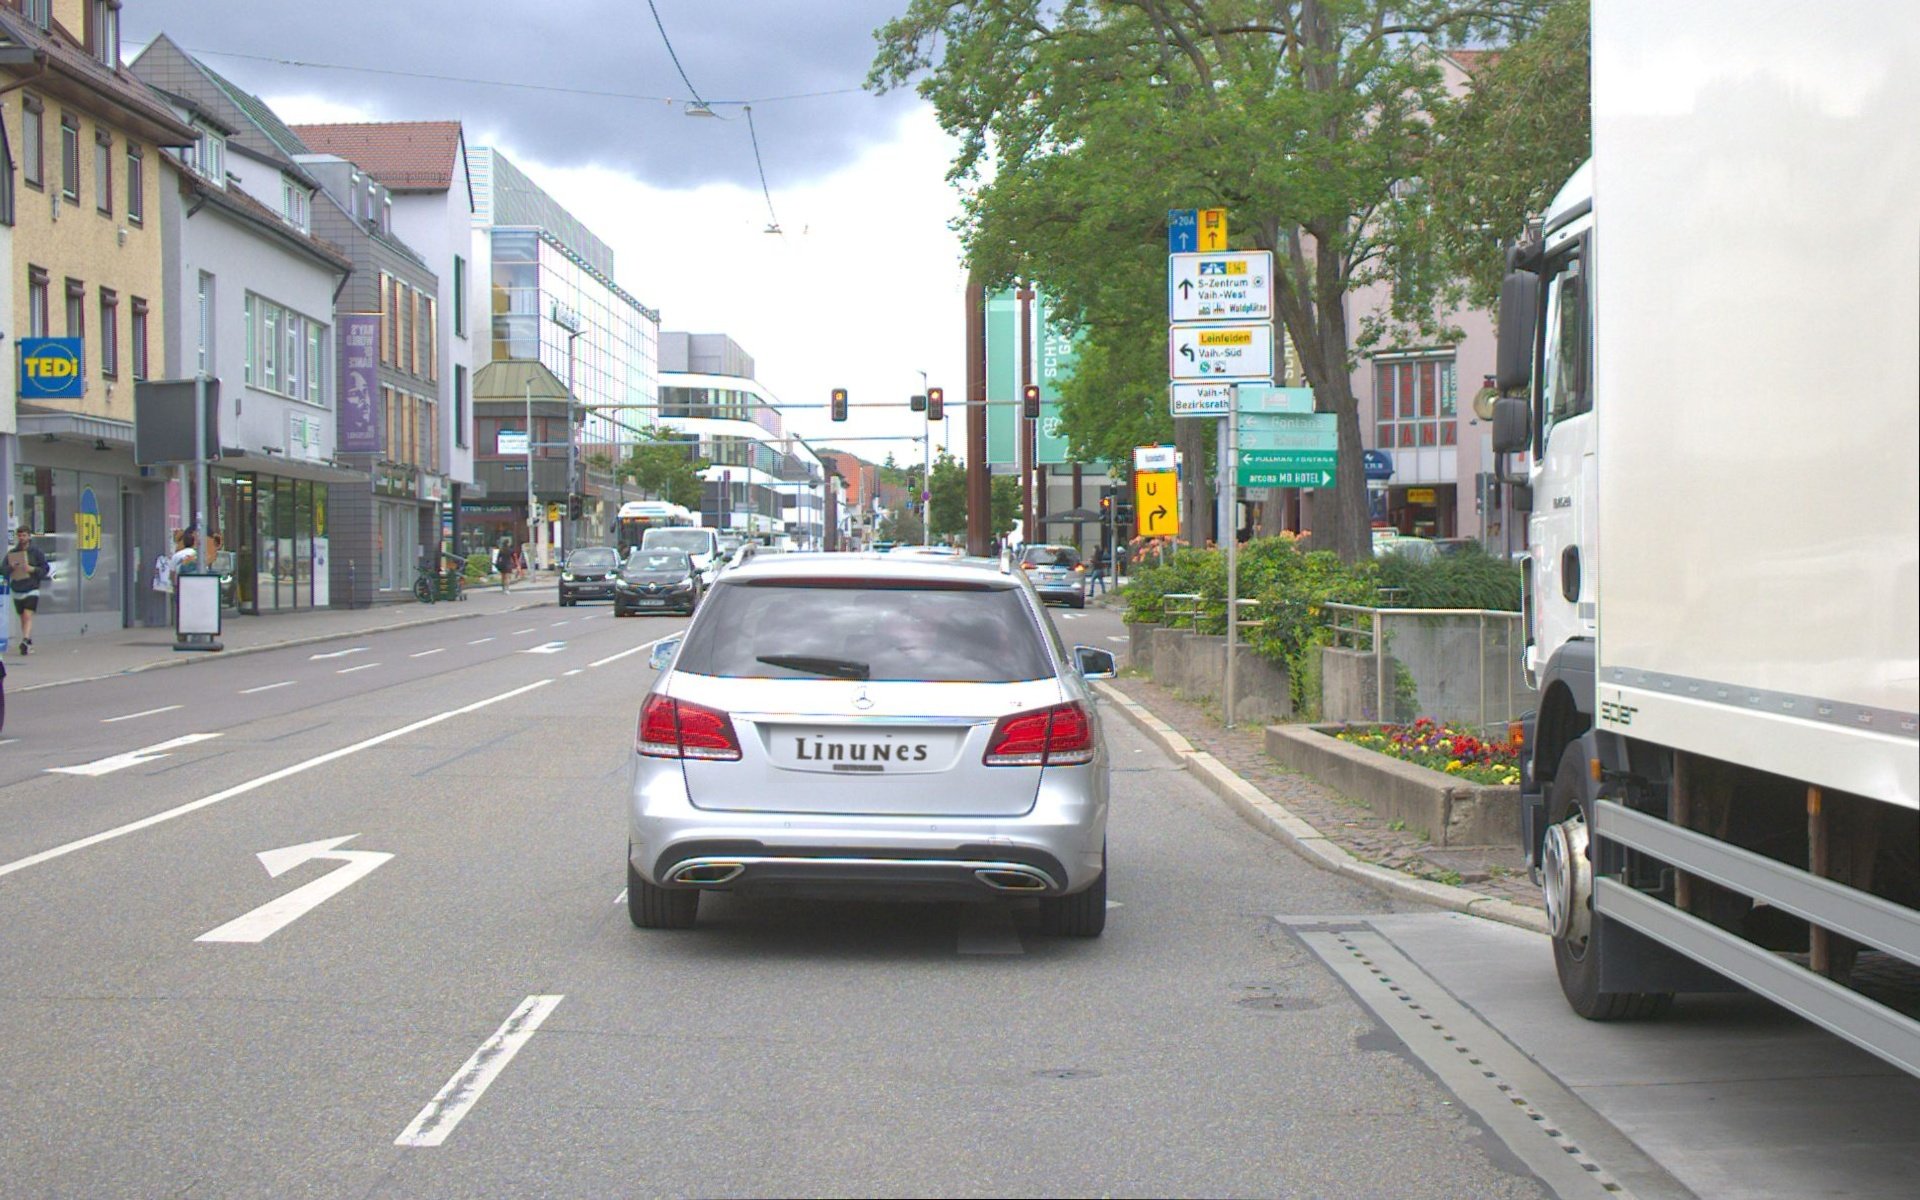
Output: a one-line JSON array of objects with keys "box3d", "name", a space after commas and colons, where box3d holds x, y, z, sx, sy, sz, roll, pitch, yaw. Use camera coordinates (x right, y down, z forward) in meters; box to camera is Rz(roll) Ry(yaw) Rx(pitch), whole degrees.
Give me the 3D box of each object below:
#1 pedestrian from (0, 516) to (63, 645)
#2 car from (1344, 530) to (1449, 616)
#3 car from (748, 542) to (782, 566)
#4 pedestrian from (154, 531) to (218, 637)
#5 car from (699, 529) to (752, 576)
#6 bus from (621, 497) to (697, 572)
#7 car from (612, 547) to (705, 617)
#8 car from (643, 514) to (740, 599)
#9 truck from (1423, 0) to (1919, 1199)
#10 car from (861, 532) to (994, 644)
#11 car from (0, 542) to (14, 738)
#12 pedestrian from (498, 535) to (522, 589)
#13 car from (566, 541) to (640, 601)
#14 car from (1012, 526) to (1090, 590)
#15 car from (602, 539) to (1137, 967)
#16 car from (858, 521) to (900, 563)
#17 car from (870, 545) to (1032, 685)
[{"box3d": [-13.026, -0.276, 47.838, 0.867, 1.740, 0.806, 3, 1, -5], "name": "pedestrian"}, {"box3d": [9.667, -0.610, 76.397, 1.866, 1.858, 4.000, 0, 1, 1], "name": "car"}, {"box3d": [-10.105, -2.392, 178.159, 1.575, 1.240, 3.606, 0, 1, 0], "name": "car"}, {"box3d": [-12.188, -0.266, 54.151, 0.816, 1.629, 0.980, 2, 1, -6], "name": "pedestrian"}, {"box3d": [-10.133, -2.072, 148.789, 1.993, 2.007, 4.000, 0, 1, 0], "name": "car"}, {"box3d": [-12.959, -2.833, 148.562, 2.775, 3.154, 5.933, 0, 1, 0], "name": "bus"}, {"box3d": [-6.431, -0.396, 73.627, 1.617, 1.423, 3.923, -1, 1, 0], "name": "car"}, {"box3d": [-6.508, -1.072, 83.782, 1.961, 1.954, 5.140, -2, 1, 0], "name": "car"}, {"box3d": [3.077, -0.480, 7.546, 2.688, 3.549, 9.767, 0, 1, -1], "name": "truck"}, {"box3d": [-0.494, -0.214, 53.897, 1.993, 1.678, 4.000, 0, 1, 0], "name": "car"}, {"box3d": [-8.451, 0.343, 25.905, 1.639, 1.562, 3.927, -1, 1, -2], "name": "car"}, {"box3d": [-13.890, -1.163, 106.119, 0.586, 1.629, 0.615, 3, 1, -3], "name": "pedestrian"}, {"box3d": [-9.524, -0.787, 91.839, 1.617, 1.518, 3.508, -1, 1, -1], "name": "car"}, {"box3d": [2.424, -1.137, 92.482, 1.993, 1.678, 4.000, 0, 1, 0], "name": "car"}, {"box3d": [-0.399, 0.515, 14.105, 1.874, 1.501, 4.000, 0, 1, -2], "name": "car"}, {"box3d": [-3.917, -2.797, 166.193, 1.993, 2.007, 4.000, 0, 1, -1], "name": "car"}, {"box3d": [-0.109, 0.147, 39.435, 1.754, 1.515, 4.000, 0, 0, 0], "name": "car"}]
